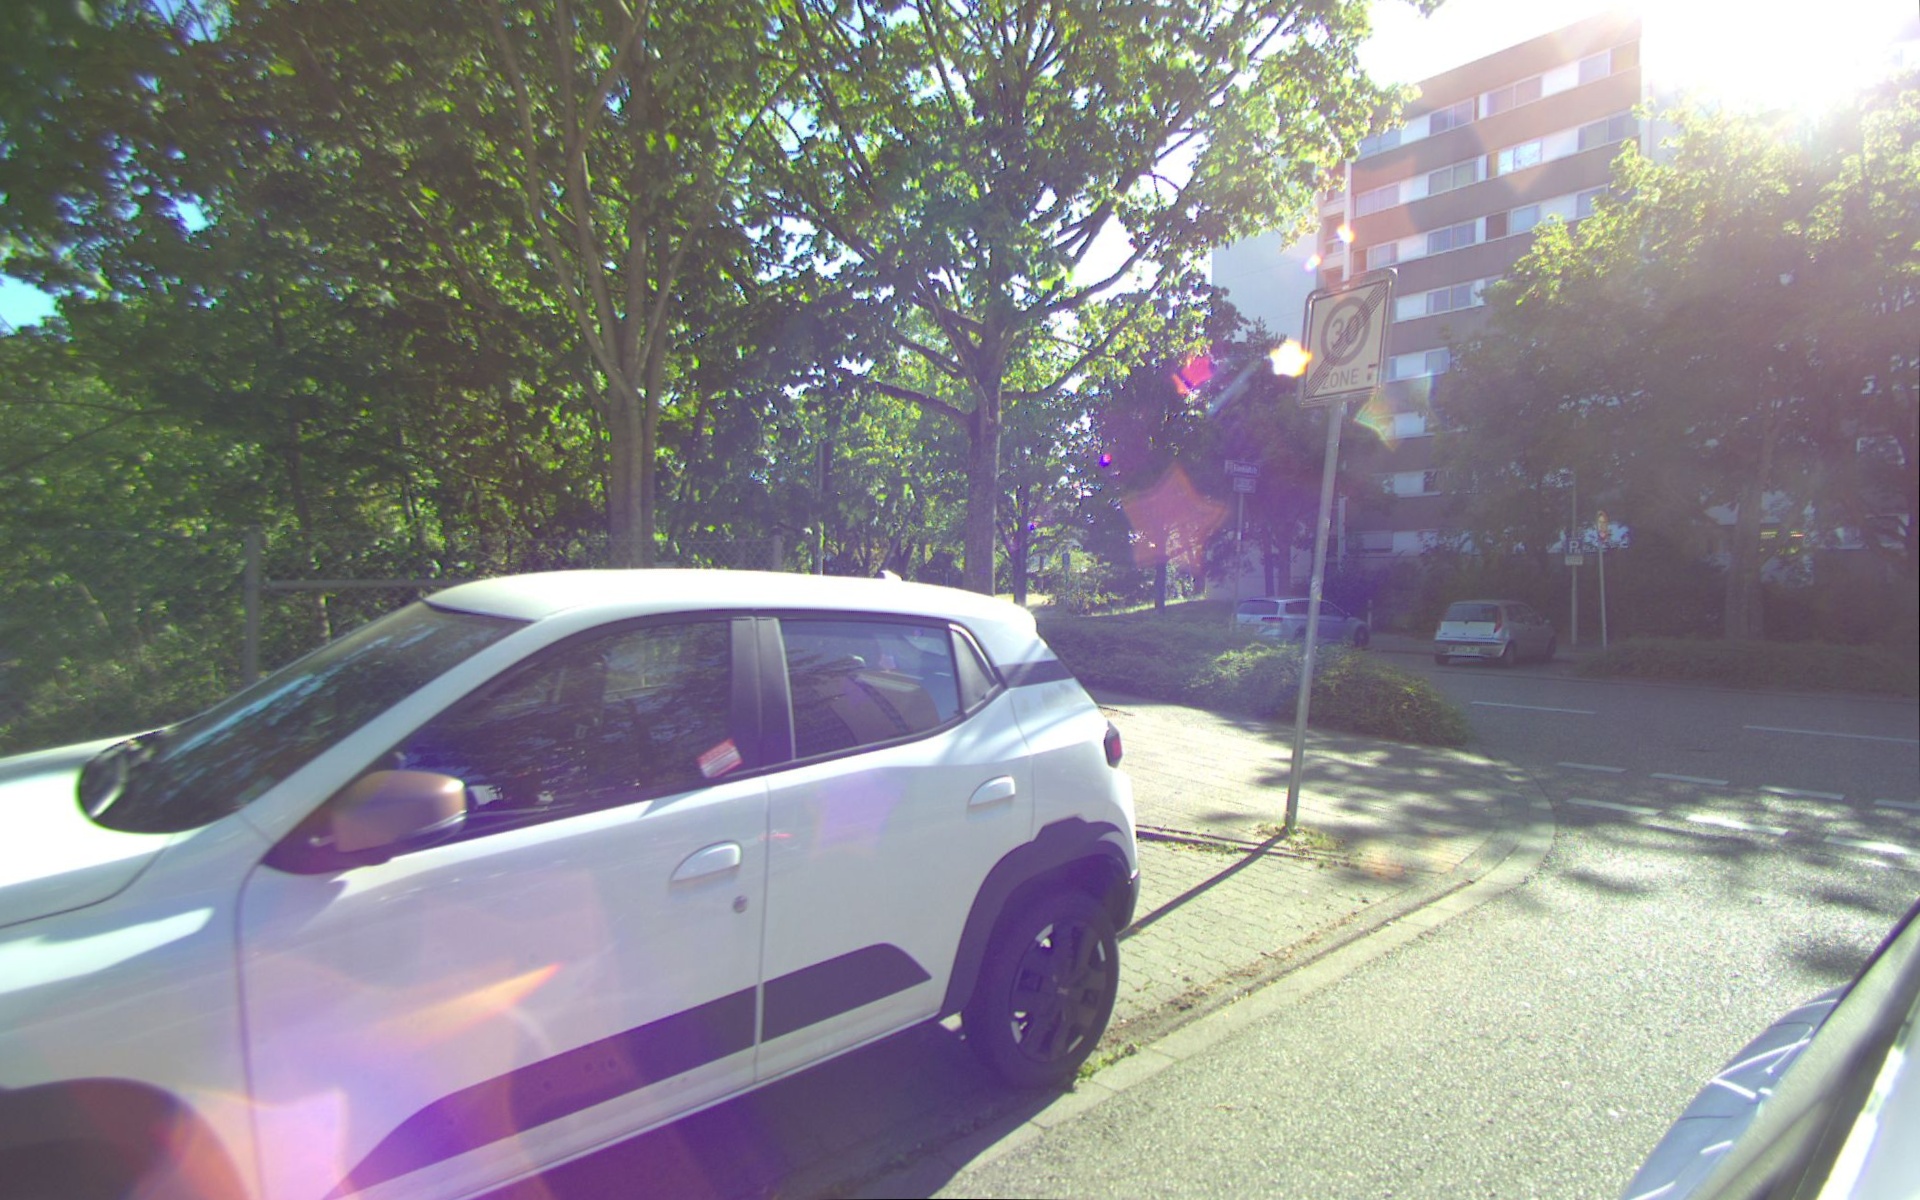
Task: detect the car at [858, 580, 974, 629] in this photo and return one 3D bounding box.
[{"bbox_3d":[-1.659,0.119,39.186,4.375,1.668,1.812,-3,3,-43],"label":"car"}]

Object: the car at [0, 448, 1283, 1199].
[{"bbox_3d":[-0.900,0.478,2.957,4.018,1.469,1.623,-1,1,-40],"label":"car"}]

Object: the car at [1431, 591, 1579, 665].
[{"bbox_3d":[12.536,0.572,23.180,3.930,1.469,1.714,-1,2,-41],"label":"car"}]

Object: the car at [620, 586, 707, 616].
[{"bbox_3d":[-16.161,0.021,55.240,4.106,1.446,1.997,-3,2,-41],"label":"car"}]

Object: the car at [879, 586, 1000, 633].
[{"bbox_3d":[-0.686,0.279,36.446,4.284,1.508,1.734,-2,2,-43],"label":"car"}]

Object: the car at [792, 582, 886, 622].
[{"bbox_3d":[-5.041,0.044,42.373,3.639,1.541,1.647,-2,3,-43],"label":"car"}]

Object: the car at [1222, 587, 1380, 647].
[{"bbox_3d":[8.947,0.441,26.414,4.208,1.446,1.827,1,0,-36],"label":"car"}]
